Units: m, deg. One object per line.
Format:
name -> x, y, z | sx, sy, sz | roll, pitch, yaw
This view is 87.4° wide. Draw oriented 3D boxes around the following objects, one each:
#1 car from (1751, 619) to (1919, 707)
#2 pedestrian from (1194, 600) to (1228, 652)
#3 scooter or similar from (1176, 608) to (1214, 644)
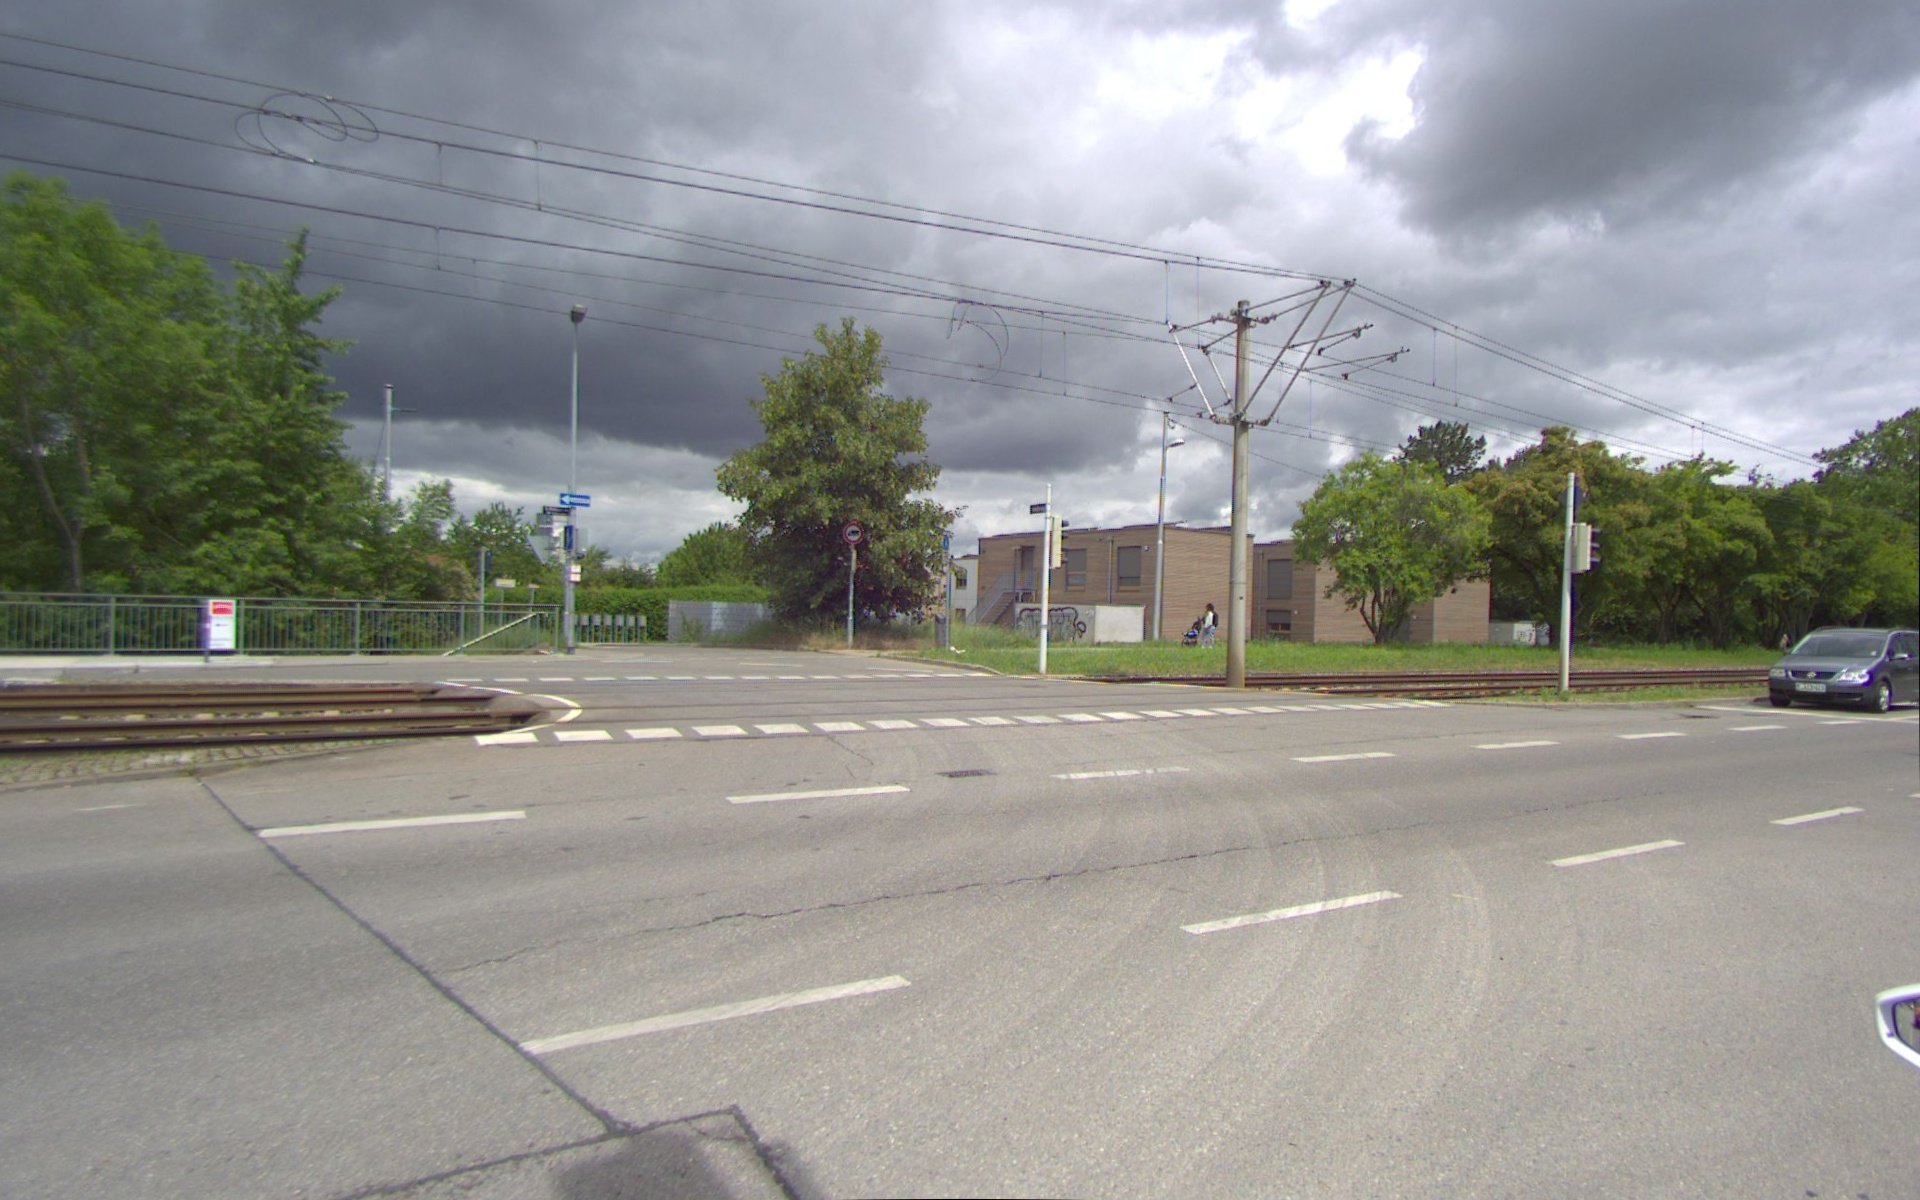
car -> 18.162, 1.246, 20.508 | 4.296, 1.590, 1.774 | 2, -1, -31
pedestrian -> 9.133, 0.949, 36.564 | 0.798, 1.835, 0.799 | 2, 2, -26
scooter or similar -> 8.479, 0.938, 36.235 | 0.960, 1.200, 0.887 | 2, 2, -28
